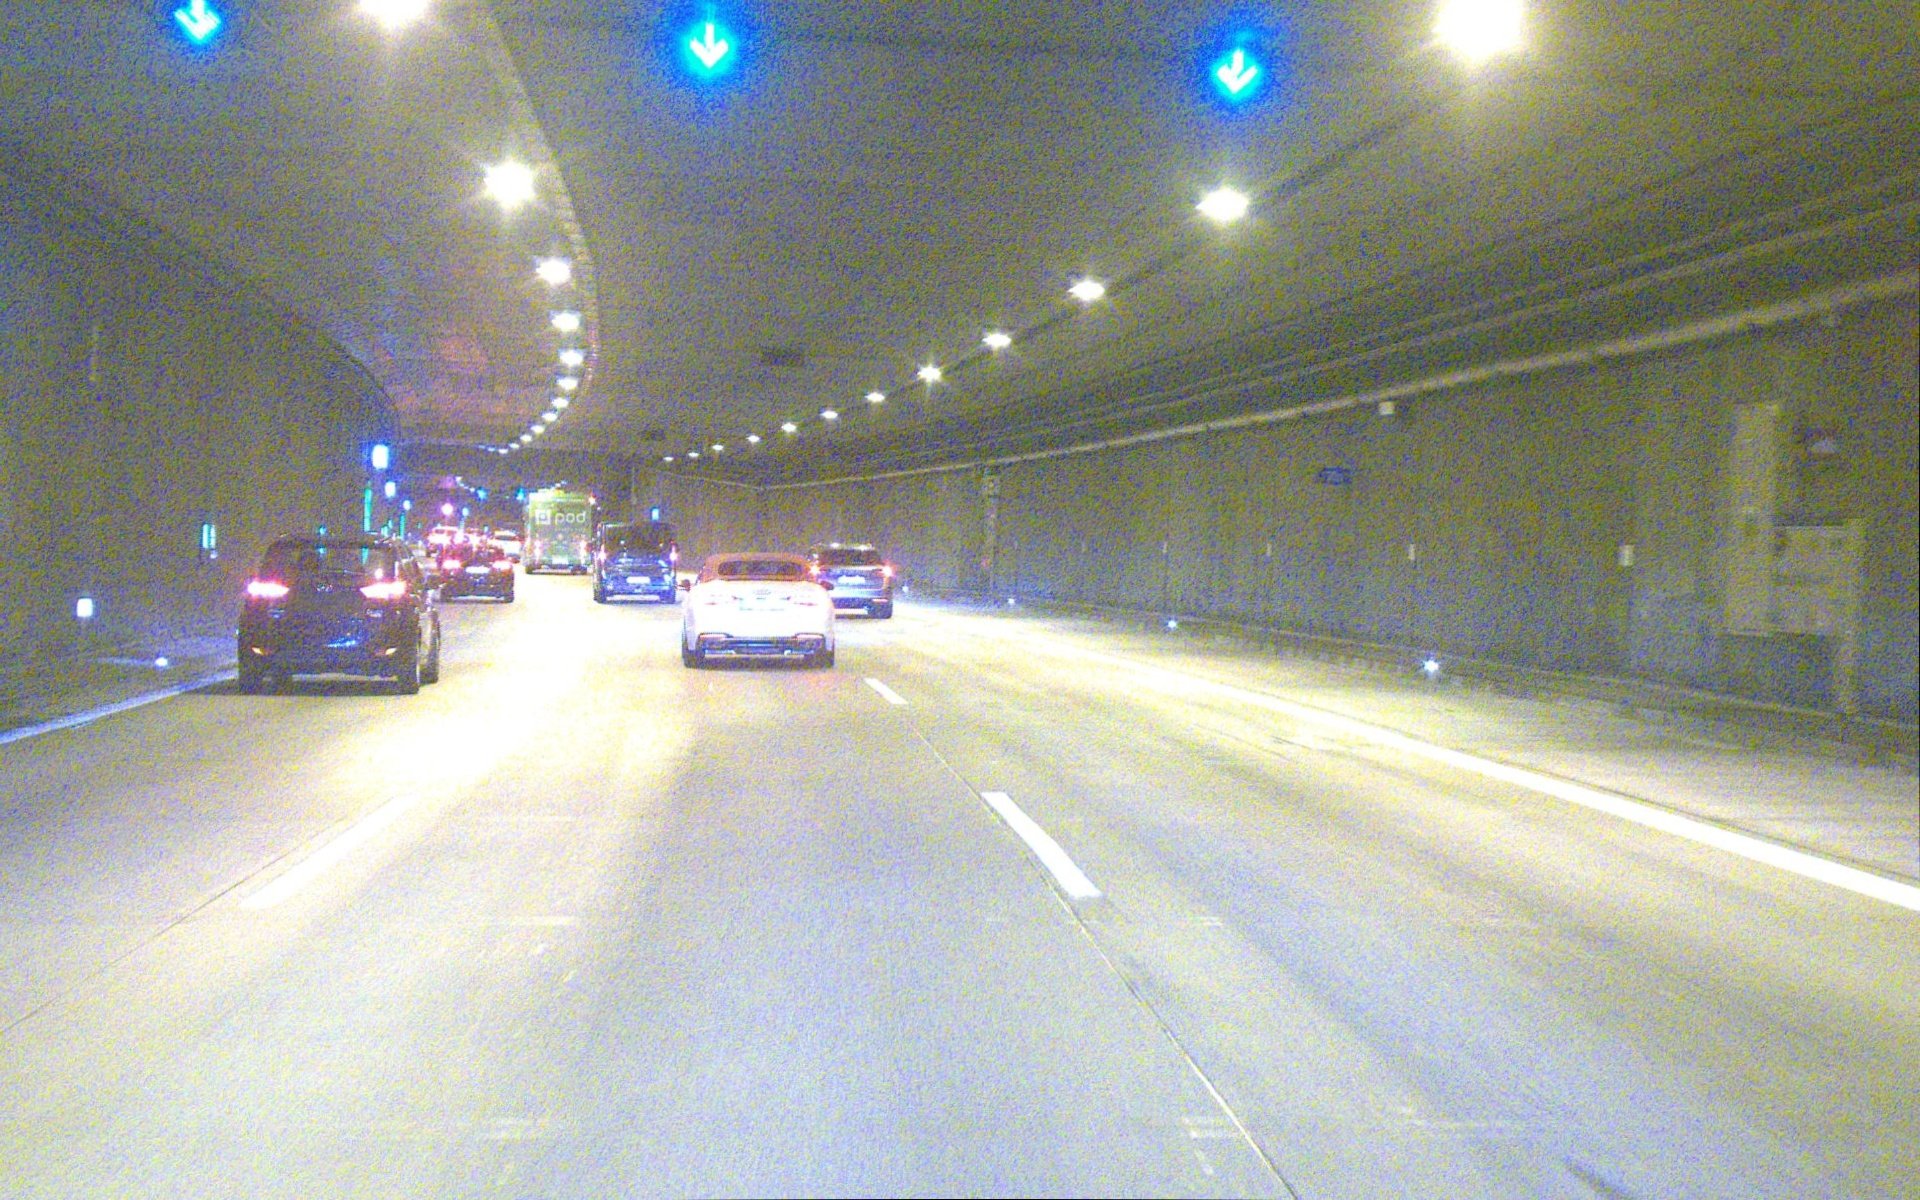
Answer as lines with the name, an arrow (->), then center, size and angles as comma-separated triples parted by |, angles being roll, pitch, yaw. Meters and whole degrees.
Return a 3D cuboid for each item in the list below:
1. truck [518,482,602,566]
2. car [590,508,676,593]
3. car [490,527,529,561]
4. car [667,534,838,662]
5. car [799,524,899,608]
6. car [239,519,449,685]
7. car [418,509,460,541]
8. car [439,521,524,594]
truck -> -15.873, -3.060, 136.115 | 3.082, 3.102, 10.032 | 2, 2, -7
car -> -7.827, -1.177, 82.371 | 1.993, 1.965, 4.001 | 0, 1, -5
car -> -24.588, -3.043, 187.794 | 1.993, 1.748, 4.001 | 1, 0, -6
car -> -2.569, -0.057, 42.532 | 1.993, 1.478, 4.001 | 1, 1, -4
car -> -2.240, -0.676, 68.508 | 1.839, 1.597, 4.001 | 1, 1, -3
car -> -6.222, -0.017, 35.053 | 1.785, 1.593, 3.802 | 0, 1, -5
car -> -26.425, -3.788, 174.491 | 1.993, 1.525, 4.001 | 1, 0, -8
car -> -11.473, -1.029, 82.548 | 1.800, 1.678, 4.001 | 1, 1, -5
